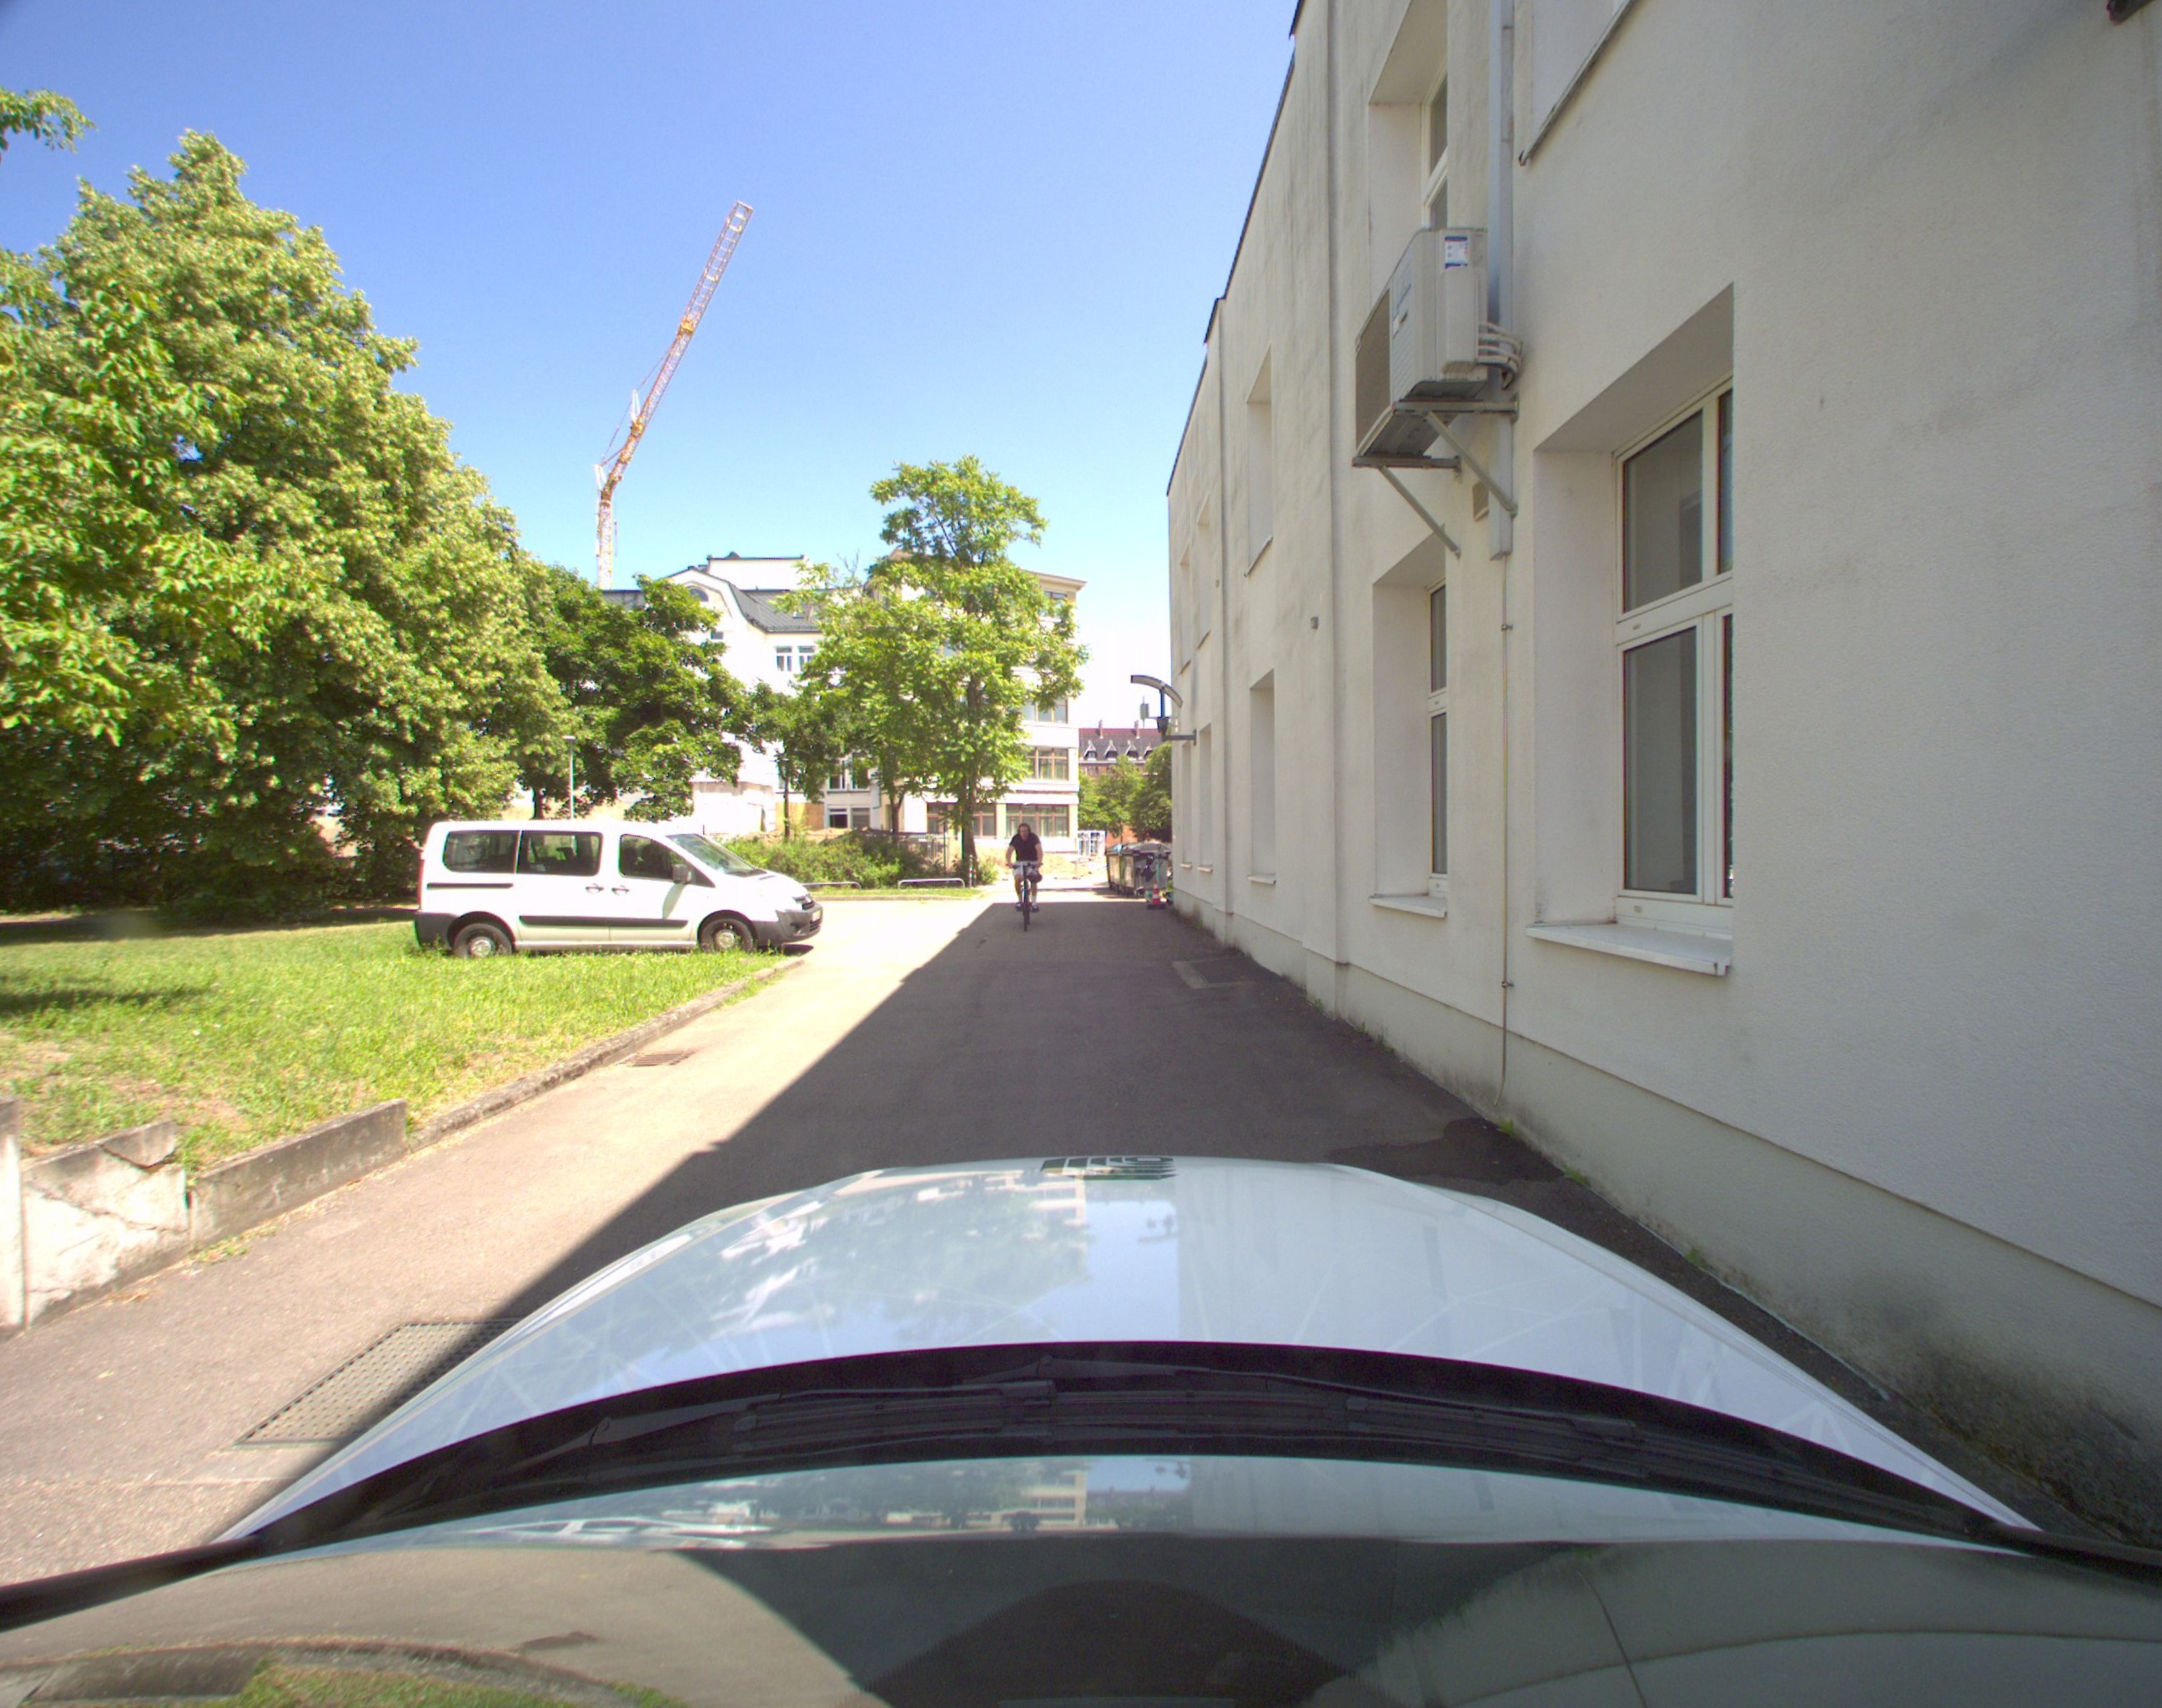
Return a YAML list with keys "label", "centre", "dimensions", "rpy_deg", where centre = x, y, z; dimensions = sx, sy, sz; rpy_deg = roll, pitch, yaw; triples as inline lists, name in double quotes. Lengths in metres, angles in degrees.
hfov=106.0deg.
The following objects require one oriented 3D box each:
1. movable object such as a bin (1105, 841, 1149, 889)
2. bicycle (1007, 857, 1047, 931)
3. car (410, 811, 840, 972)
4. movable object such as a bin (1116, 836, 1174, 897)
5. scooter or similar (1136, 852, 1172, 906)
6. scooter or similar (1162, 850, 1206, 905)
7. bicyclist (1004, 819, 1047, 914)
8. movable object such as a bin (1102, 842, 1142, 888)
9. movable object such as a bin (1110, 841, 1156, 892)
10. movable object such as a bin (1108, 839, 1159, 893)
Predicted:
- label: "movable object such as a bin"
  centre: [1.425, 0.343, 25.692]
  dimensions: [1.178, 1.470, 1.308]
  rpy_deg: [0, -1, -7]
- label: "bicycle"
  centre: [-0.980, 0.662, 14.412]
  dimensions: [0.643, 1.174, 1.901]
  rpy_deg: [-1, 1, -5]
- label: "car"
  centre: [-6.058, 0.457, 11.414]
  dimensions: [4.783, 1.911, 1.995]
  rpy_deg: [-2, 0, -7]
- label: "movable object such as a bin"
  centre: [1.644, 0.311, 21.126]
  dimensions: [1.155, 1.505, 1.457]
  rpy_deg: [0, -1, -10]
- label: "scooter or similar"
  centre: [1.627, 0.537, 18.387]
  dimensions: [0.463, 1.174, 1.352]
  rpy_deg: [-1, 0, -10]
- label: "scooter or similar"
  centre: [2.272, 0.503, 18.147]
  dimensions: [0.465, 1.174, 1.248]
  rpy_deg: [-1, 0, -18]
- label: "bicyclist"
  centre: [-0.986, 0.205, 14.388]
  dimensions: [0.721, 1.609, 0.976]
  rpy_deg: [0, 0, -5]
- label: "movable object such as a bin"
  centre: [1.374, 0.365, 27.229]
  dimensions: [1.172, 1.470, 1.336]
  rpy_deg: [-1, -1, 10]
- label: "movable object such as a bin"
  centre: [1.530, 0.360, 24.254]
  dimensions: [1.177, 1.470, 1.309]
  rpy_deg: [0, -1, -5]
- label: "movable object such as a bin"
  centre: [1.458, 0.331, 22.867]
  dimensions: [1.178, 1.470, 1.308]
  rpy_deg: [0, -1, -8]
